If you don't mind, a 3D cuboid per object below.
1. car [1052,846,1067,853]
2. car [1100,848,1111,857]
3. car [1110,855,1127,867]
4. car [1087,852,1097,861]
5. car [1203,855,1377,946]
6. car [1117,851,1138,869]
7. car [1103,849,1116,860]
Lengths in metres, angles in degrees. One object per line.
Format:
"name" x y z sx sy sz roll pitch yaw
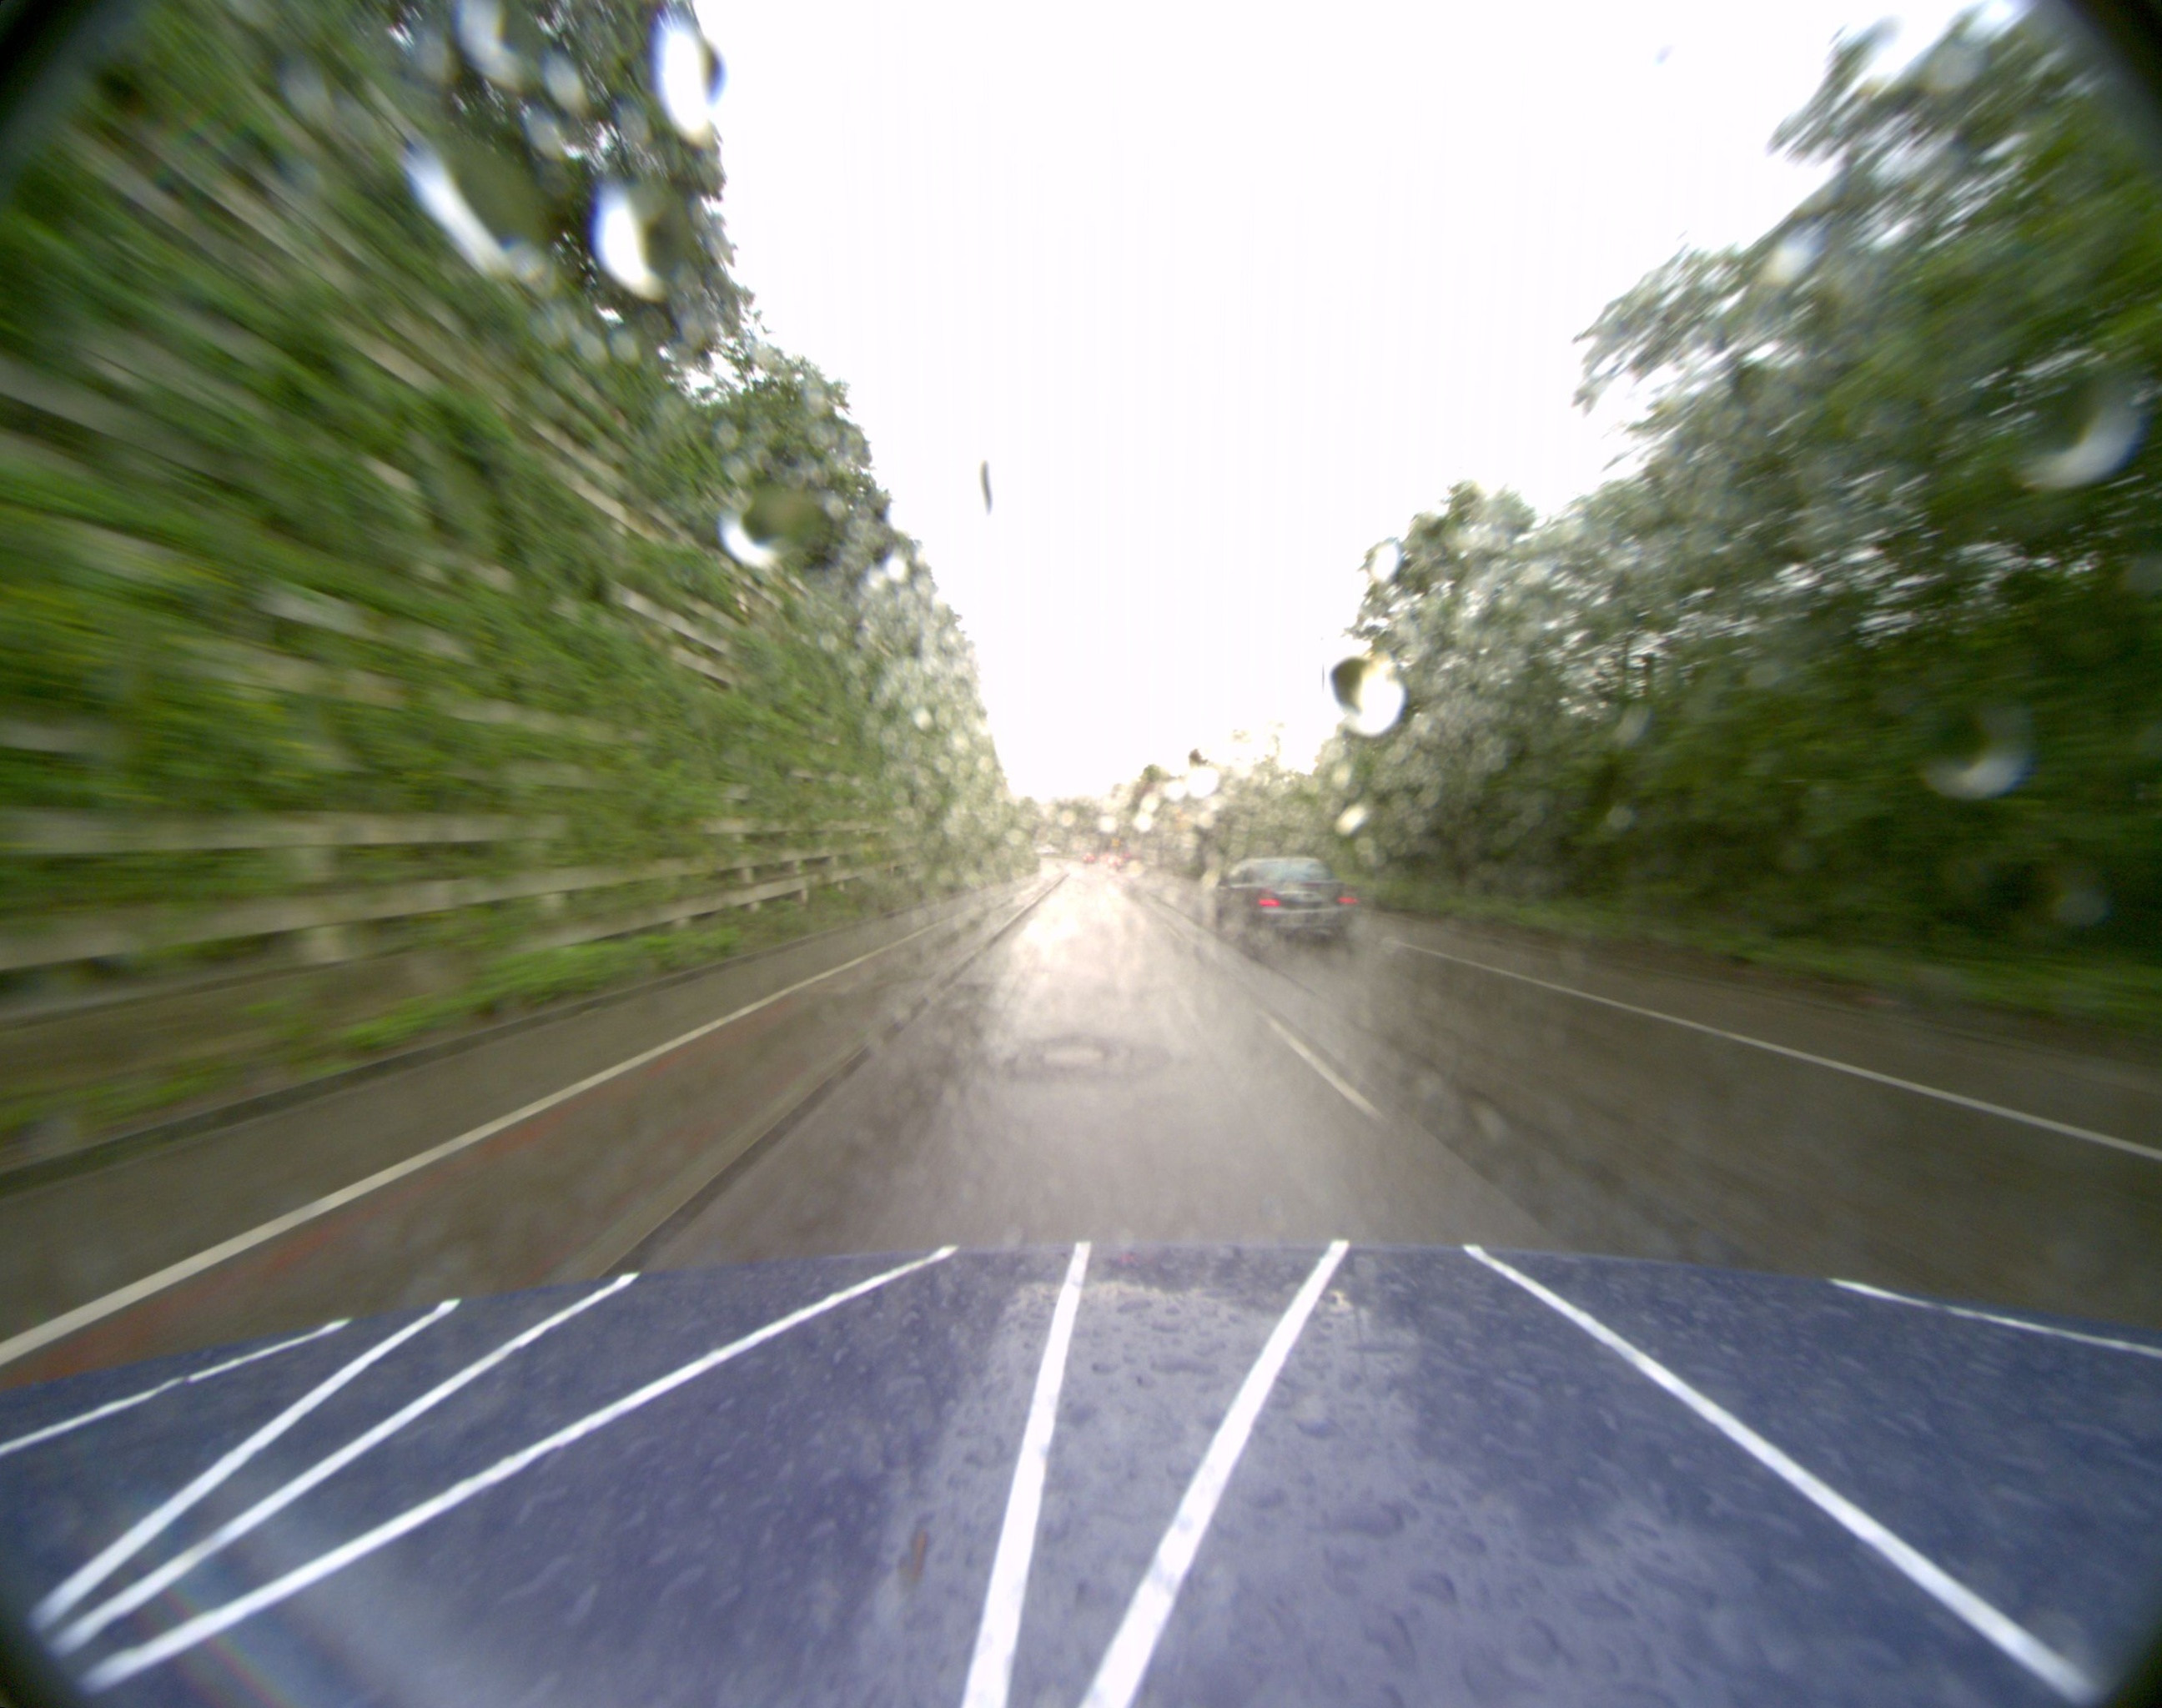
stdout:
"car" -5.526 -1.160 197.427 3.823 1.559 1.773 3 2 -4
"car" 4.754 -0.346 146.741 1.998 1.494 4.728 3 1 1
"car" 4.515 0.827 91.924 1.870 1.440 4.377 0 0 -1
"car" 2.057 0.460 138.365 1.736 1.609 4.000 0 1 3
"car" 3.618 0.725 14.011 1.999 1.356 4.251 -1 0 0
"car" 4.431 0.550 72.322 1.827 1.605 4.093 -1 0 1
"car" 5.239 0.069 139.192 1.818 1.648 4.051 4 3 8
